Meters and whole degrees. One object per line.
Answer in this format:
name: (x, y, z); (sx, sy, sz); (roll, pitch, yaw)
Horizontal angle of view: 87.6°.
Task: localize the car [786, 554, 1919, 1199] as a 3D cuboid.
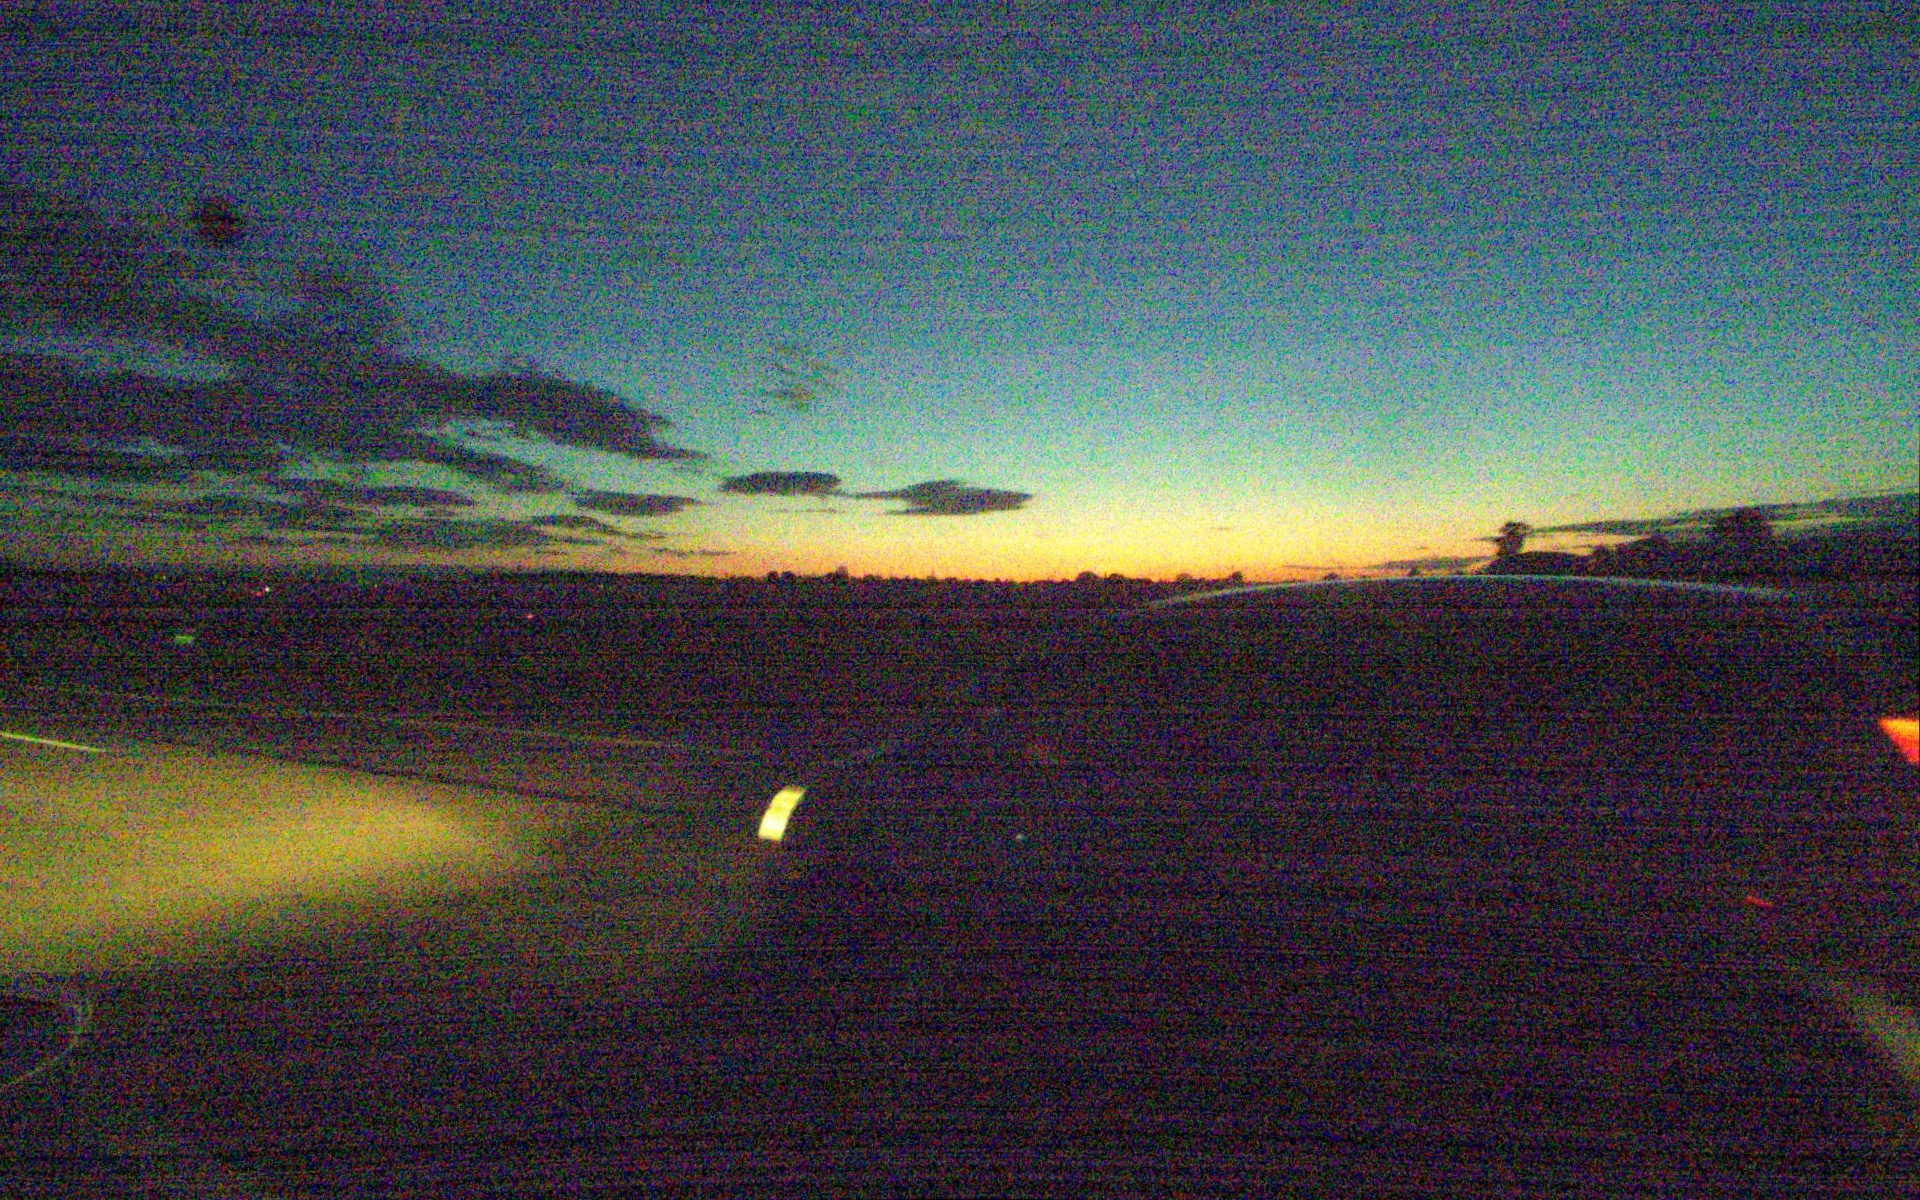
car: (1.638, 0.725, 3.328); (4.445, 1.618, 1.643); (0, 0, 33)
